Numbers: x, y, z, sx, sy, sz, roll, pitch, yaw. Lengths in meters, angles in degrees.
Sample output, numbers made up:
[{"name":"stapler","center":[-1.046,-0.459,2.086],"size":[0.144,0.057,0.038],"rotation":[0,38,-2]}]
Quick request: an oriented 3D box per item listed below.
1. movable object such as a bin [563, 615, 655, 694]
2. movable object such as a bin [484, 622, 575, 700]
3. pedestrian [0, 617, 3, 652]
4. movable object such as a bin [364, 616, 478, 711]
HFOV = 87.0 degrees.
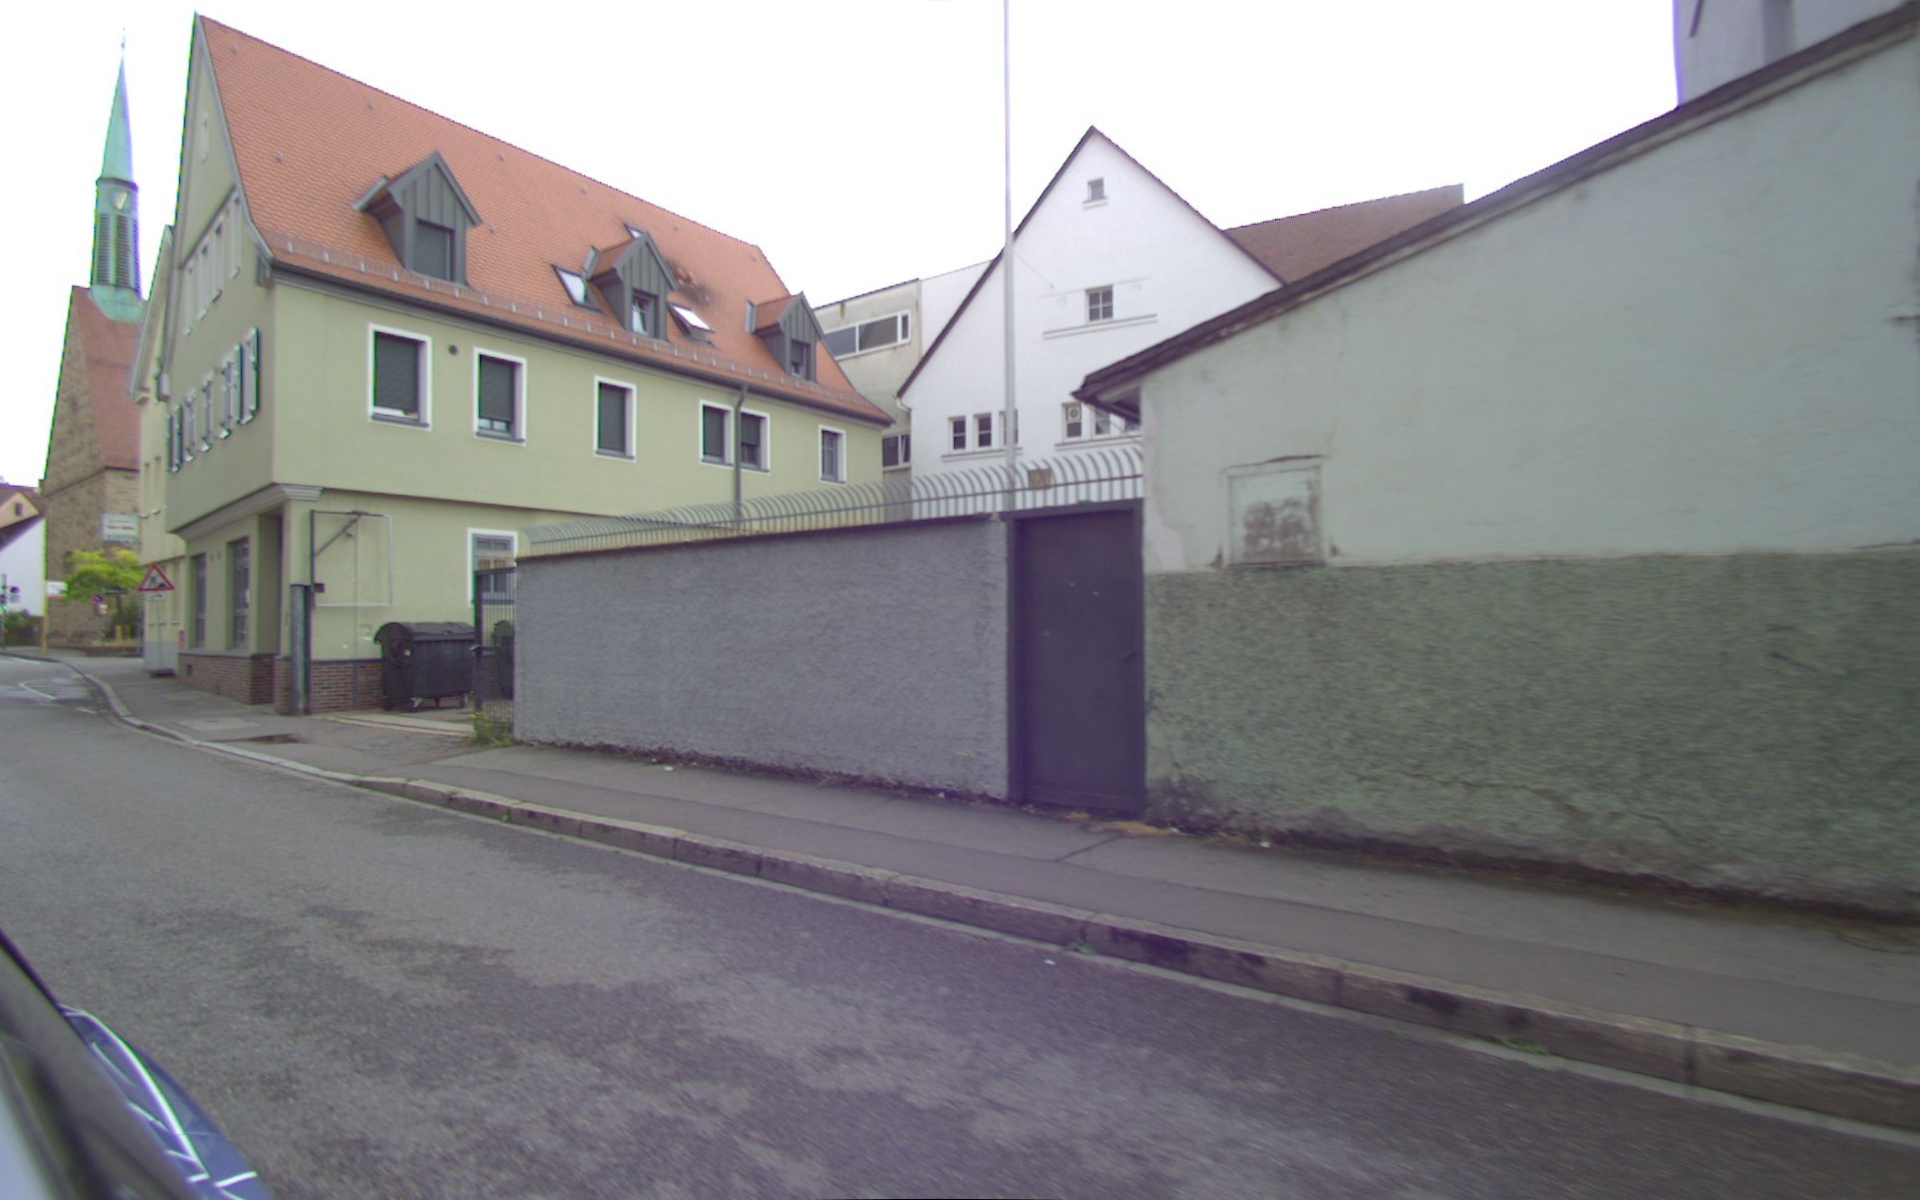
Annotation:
[{"name":"movable object such as a bin","center":[-6.801,1.023,19.632],"size":[1.099,1.460,1.326],"rotation":[-1,-1,39]},{"name":"movable object such as a bin","center":[-7.881,1.085,18.544],"size":[1.059,1.371,1.228],"rotation":[-2,-2,44]},{"name":"pedestrian","center":[-58.004,2.074,60.762],"size":[0.782,2.137,0.749],"rotation":[-2,-1,41]},{"name":"movable object such as a bin","center":[-8.888,1.018,16.719],"size":[1.096,1.487,1.298],"rotation":[-1,-1,31]}]
